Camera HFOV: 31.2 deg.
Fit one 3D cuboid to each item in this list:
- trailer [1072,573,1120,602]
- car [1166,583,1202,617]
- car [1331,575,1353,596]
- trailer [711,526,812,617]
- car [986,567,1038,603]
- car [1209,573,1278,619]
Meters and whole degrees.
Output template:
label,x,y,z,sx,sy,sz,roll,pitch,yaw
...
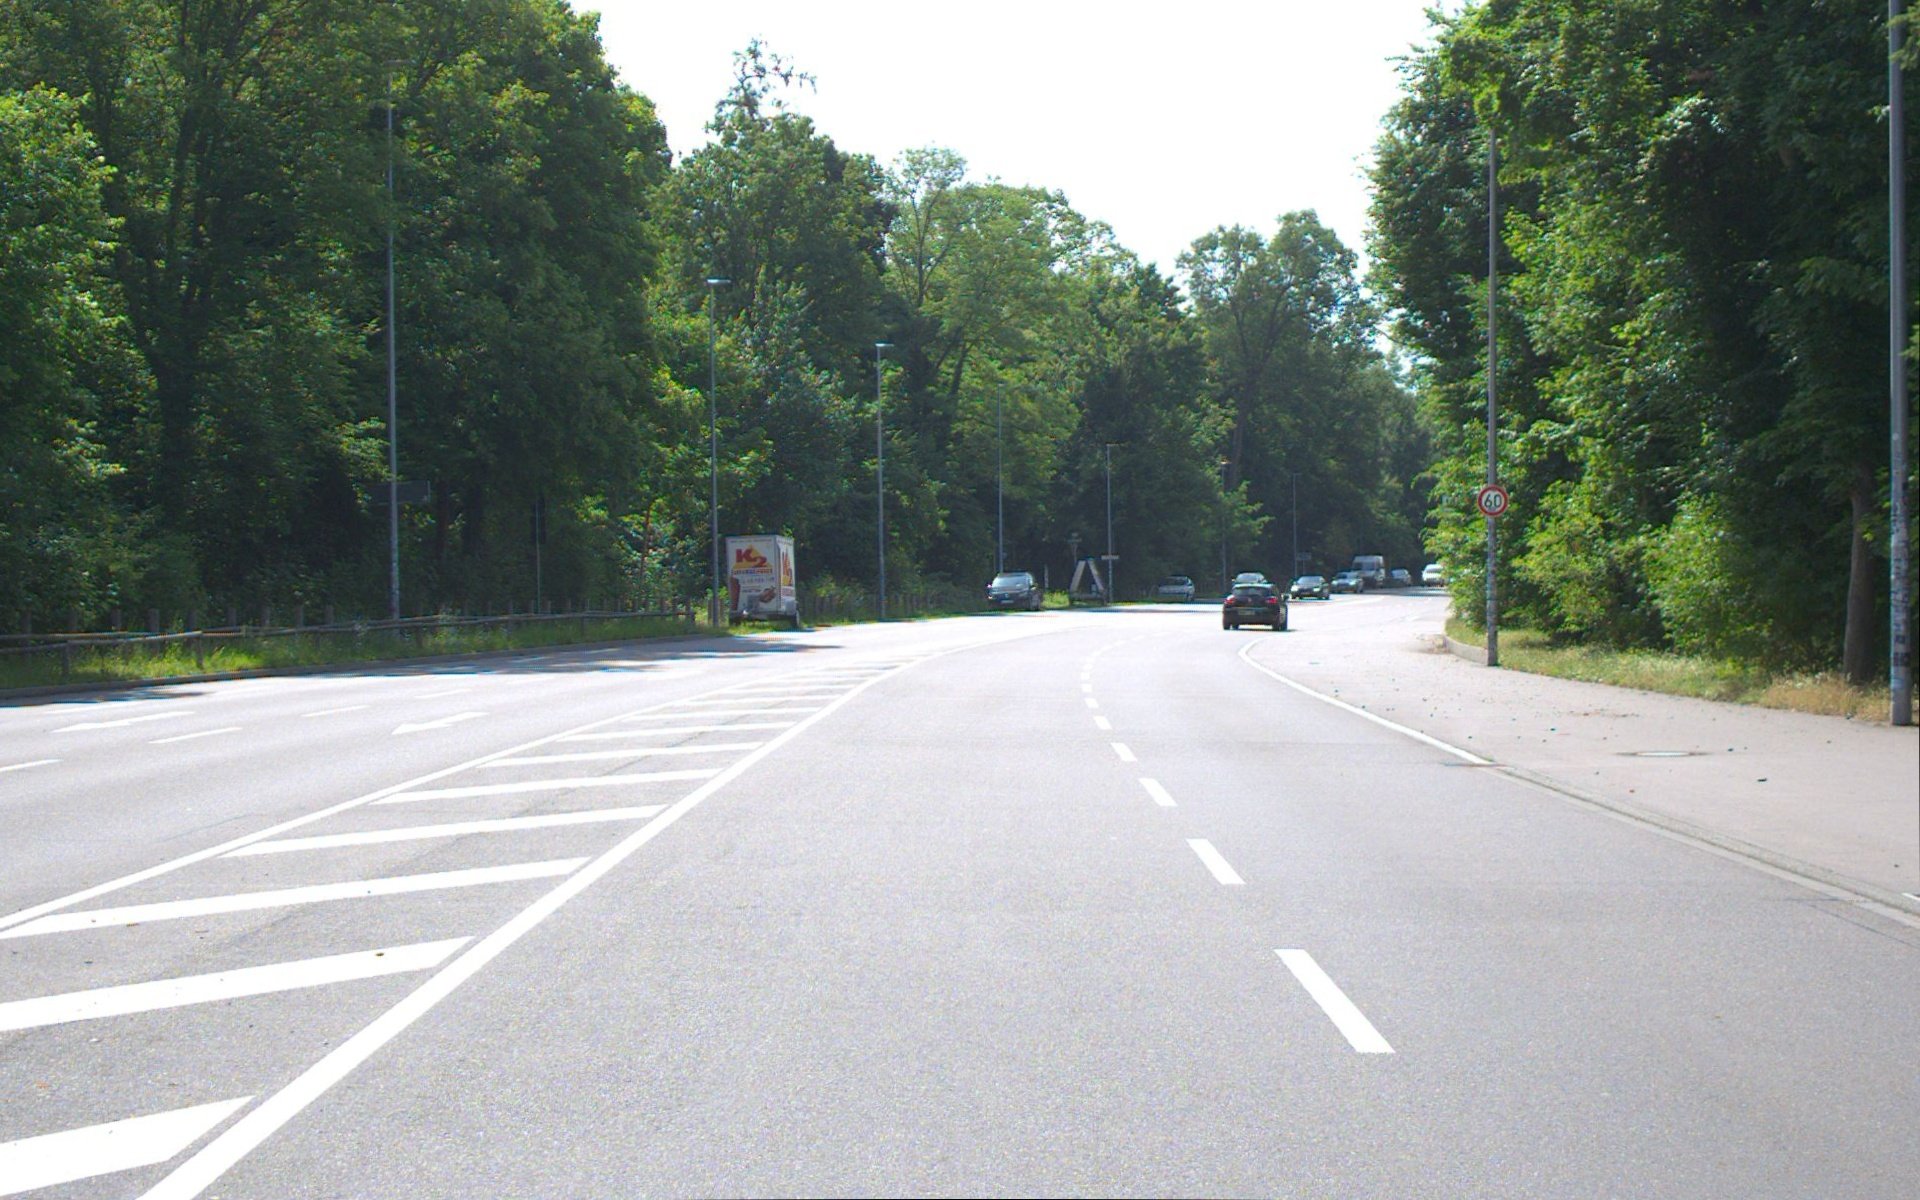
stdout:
label,x,y,z,sx,sy,sz,roll,pitch,yaw
trailer,6.481,-0.585,163.700,1.717,1.350,3.730,1,0,11
car,12.453,-0.029,190.875,1.922,1.848,3.999,1,0,5
car,26.438,-0.981,237.822,1.504,1.441,3.528,1,0,6
trailer,-5.320,-0.757,92.653,1.994,2.380,3.999,1,0,7
car,2.132,-0.600,141.034,1.504,1.441,3.527,1,0,12
car,8.746,-0.123,105.964,1.598,1.373,3.973,1,0,12
